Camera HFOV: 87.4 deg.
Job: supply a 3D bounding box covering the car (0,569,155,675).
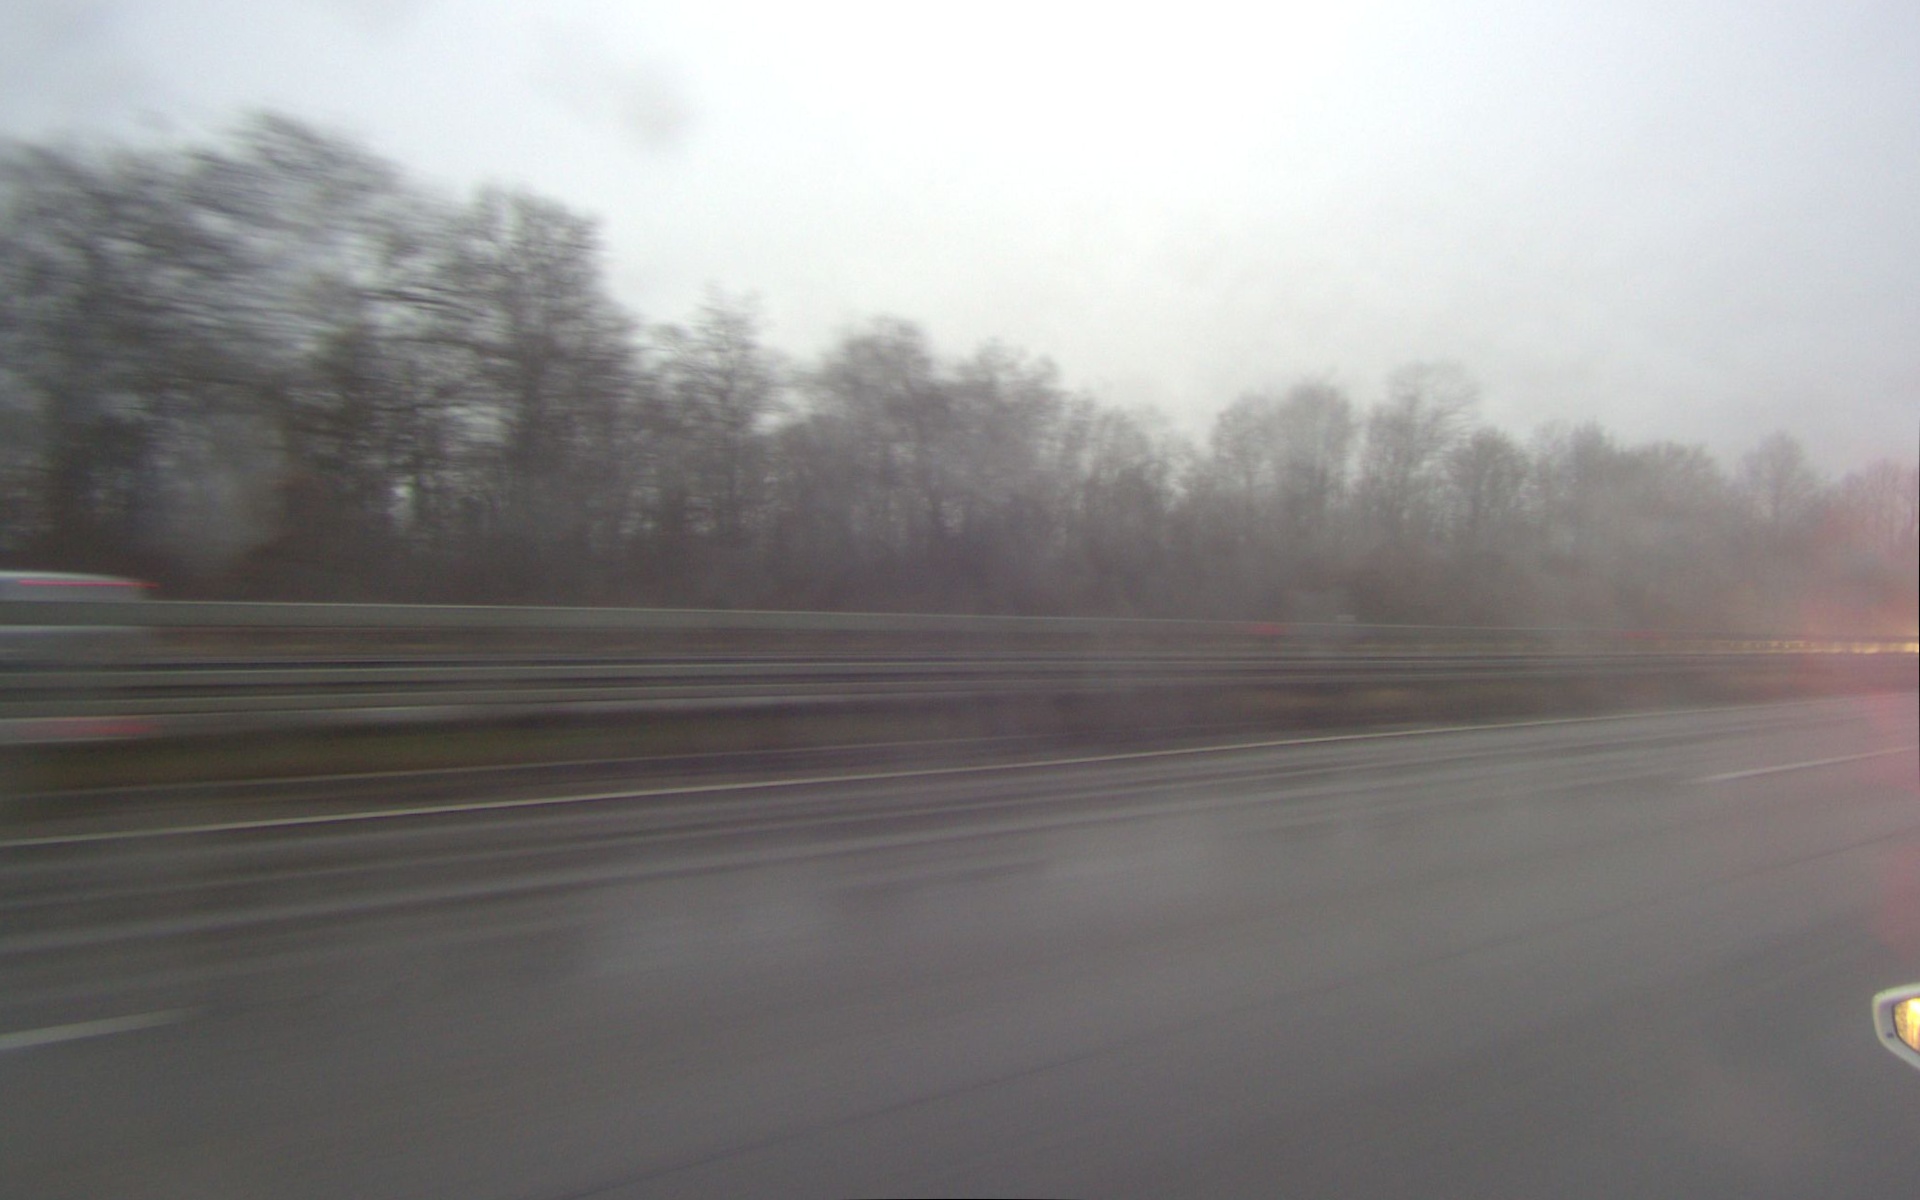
[{"bbox_3d":[-14.673,0.295,14.931,3.953,1.507,1.735,1,1,-30],"label":"car"}]
